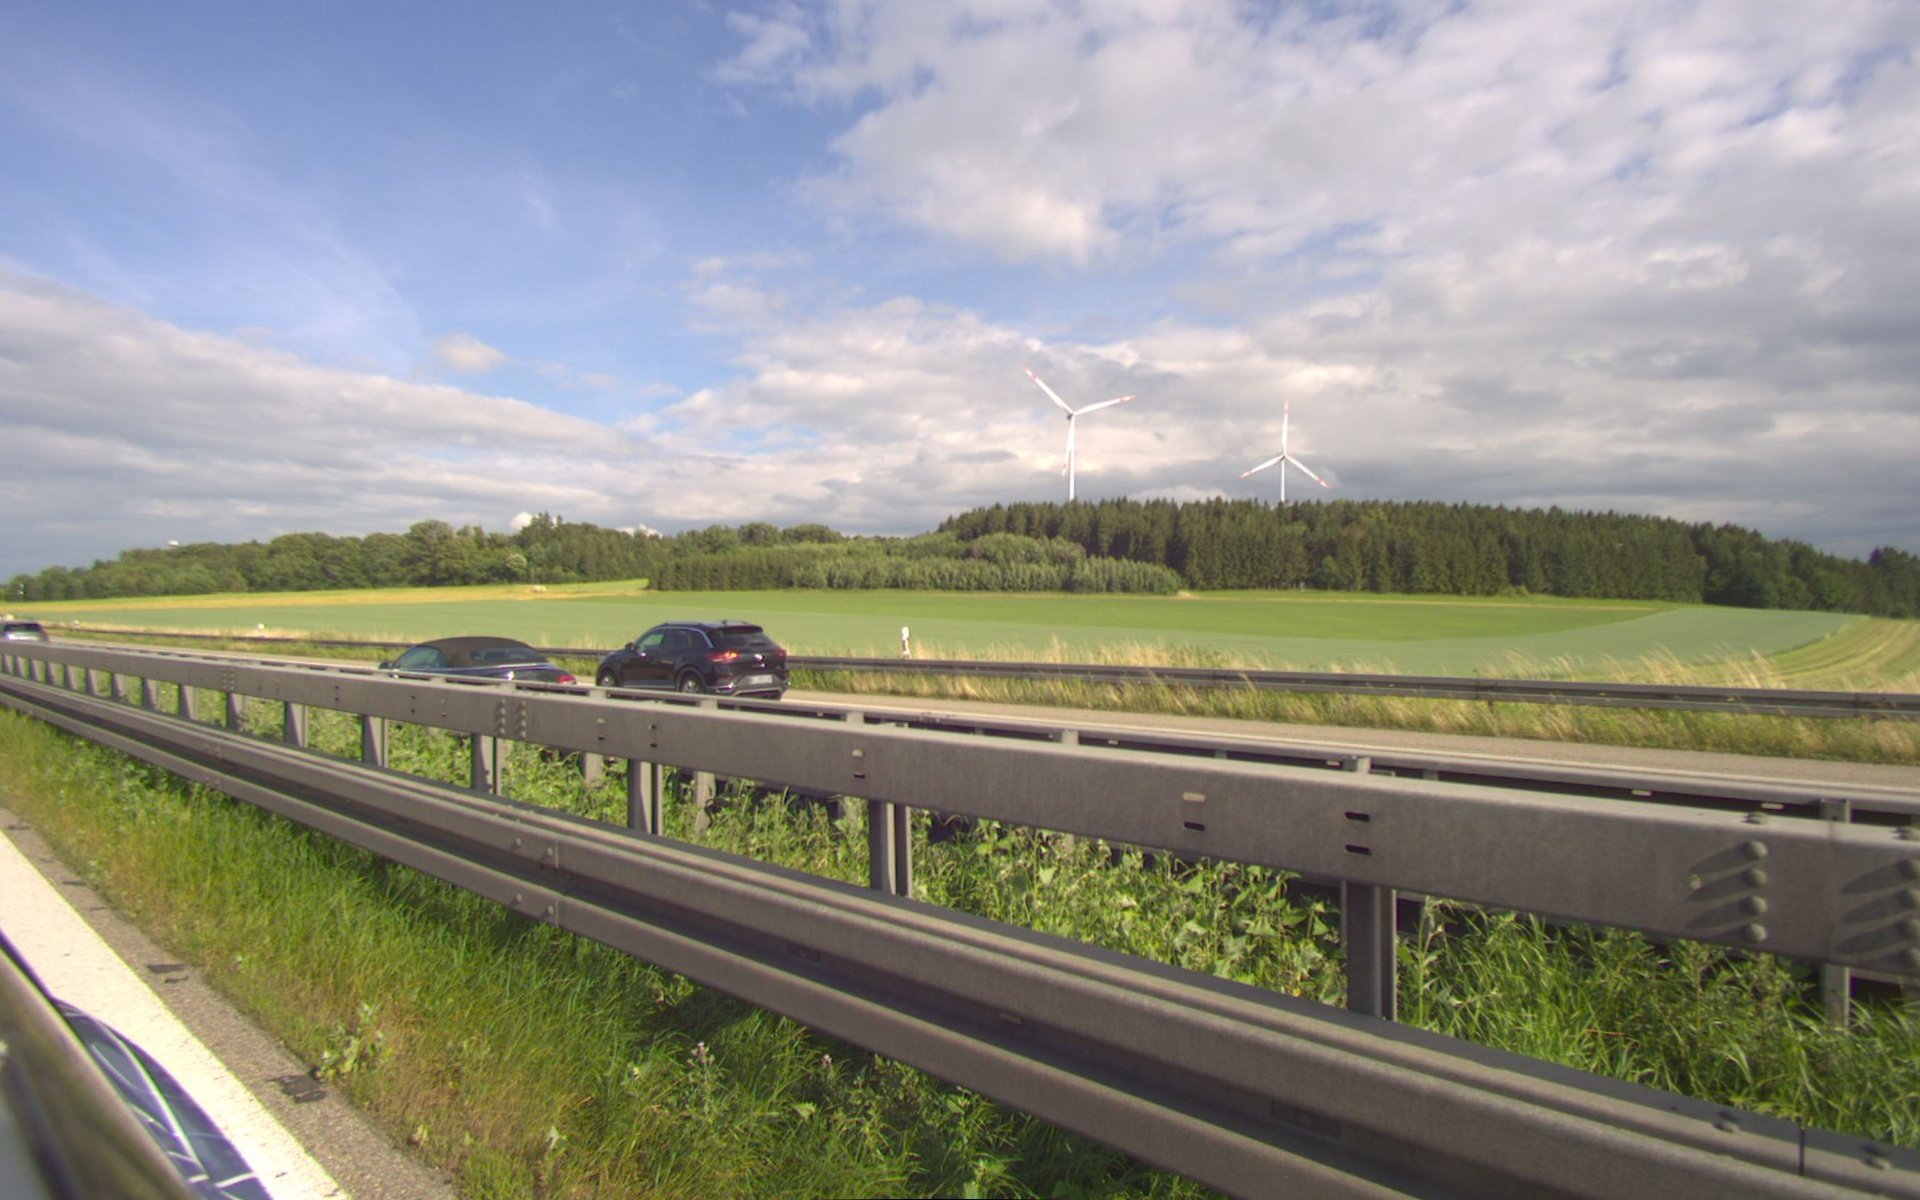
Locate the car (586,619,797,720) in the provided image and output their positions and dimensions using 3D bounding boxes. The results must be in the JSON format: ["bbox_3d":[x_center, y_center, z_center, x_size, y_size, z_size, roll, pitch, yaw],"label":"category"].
[{"bbox_3d":[-4.817,1.137,17.905,3.997,1.532,1.599,0,0,40],"label":"car"}]

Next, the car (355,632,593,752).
[{"bbox_3d":[-7.103,1.216,14.633,3.997,1.402,1.599,0,0,40],"label":"car"}]

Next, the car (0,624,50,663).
[{"bbox_3d":[-41.989,1.905,45.079,4.062,1.597,1.599,0,0,40],"label":"car"}]
